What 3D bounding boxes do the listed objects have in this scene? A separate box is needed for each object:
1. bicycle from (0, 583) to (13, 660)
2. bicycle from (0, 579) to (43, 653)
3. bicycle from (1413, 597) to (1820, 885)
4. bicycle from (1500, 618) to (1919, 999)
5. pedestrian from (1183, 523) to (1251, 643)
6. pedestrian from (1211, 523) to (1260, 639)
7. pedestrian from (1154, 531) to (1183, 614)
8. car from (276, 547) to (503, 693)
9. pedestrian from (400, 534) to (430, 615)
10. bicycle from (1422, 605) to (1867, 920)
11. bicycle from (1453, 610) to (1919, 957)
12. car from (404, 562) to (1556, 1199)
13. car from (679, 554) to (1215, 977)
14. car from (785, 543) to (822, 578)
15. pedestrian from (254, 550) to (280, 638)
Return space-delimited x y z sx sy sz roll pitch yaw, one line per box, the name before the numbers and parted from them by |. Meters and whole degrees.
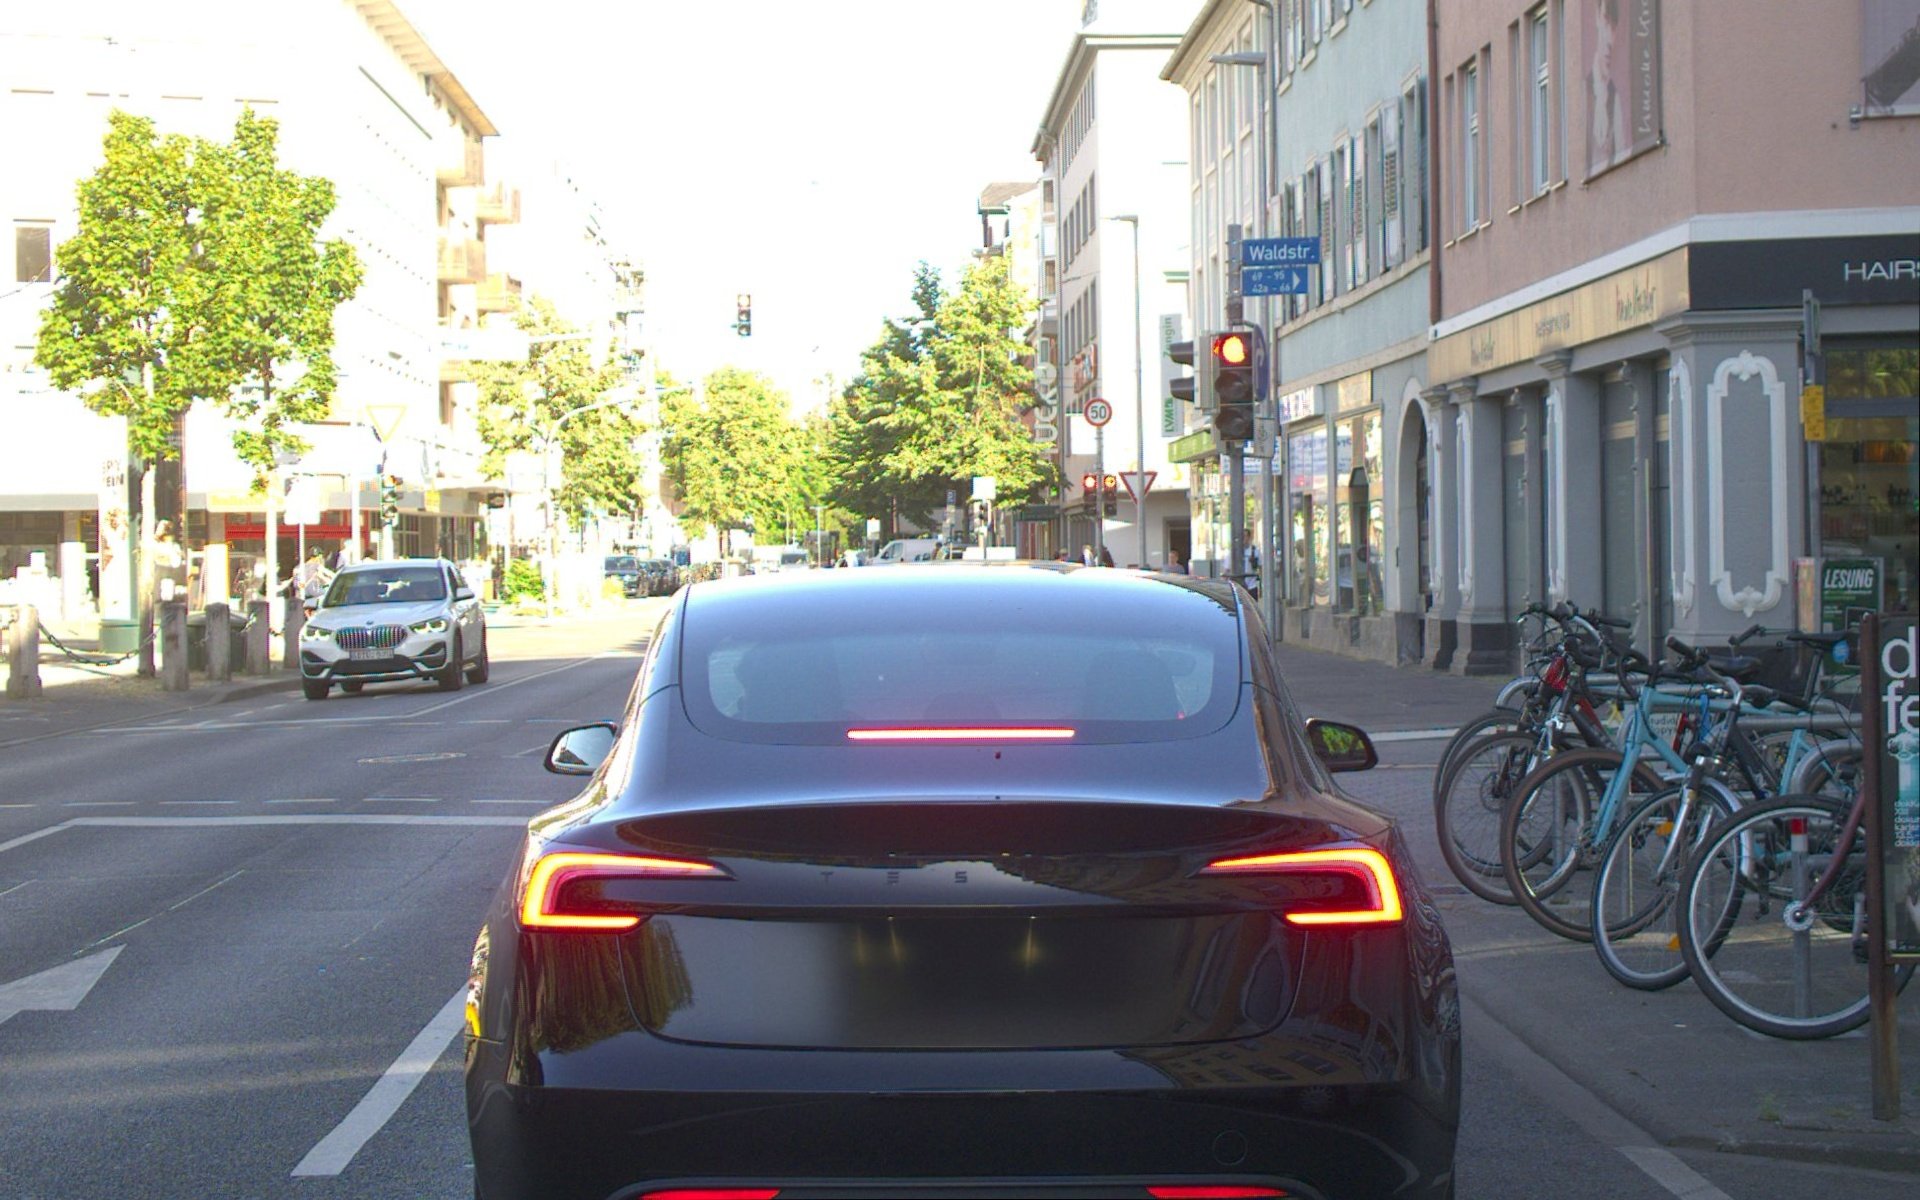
bicycle | -14.917 0.306 49.976 2.082 1.100 0.806 0 1 -1
bicycle | -15.056 0.235 52.170 2.082 1.100 0.806 0 1 -1
bicycle | 2.806 0.598 14.758 1.628 1.156 0.433 -2 1 1
bicycle | 2.628 0.664 11.196 1.627 1.156 0.433 -2 1 -1
pedestrian | 3.957 -0.267 52.985 0.999 1.844 0.615 0 1 -1
pedestrian | 4.250 -0.297 53.002 0.704 1.777 0.533 0 1 -1
pedestrian | 4.226 -0.556 69.768 0.570 1.685 0.387 0 1 -1
car | -6.752 0.194 41.089 1.993 1.535 4.000 -4 1 -1
pedestrian | -13.650 -0.644 86.107 0.626 2.007 0.707 0 1 -1
bicycle | 2.683 0.628 13.536 1.627 1.156 0.433 -2 1 -1
bicycle | 2.639 0.648 12.355 1.627 1.156 0.433 -2 1 -1
car | 0.038 0.652 7.420 1.850 1.450 3.786 0 1 0
car | -0.038 0.547 13.775 1.850 1.450 3.786 0 1 0
car | -7.831 -1.996 172.203 1.829 1.718 4.000 0 1 -2
pedestrian | -12.590 -0.115 62.442 0.385 1.586 0.706 0 1 -5
